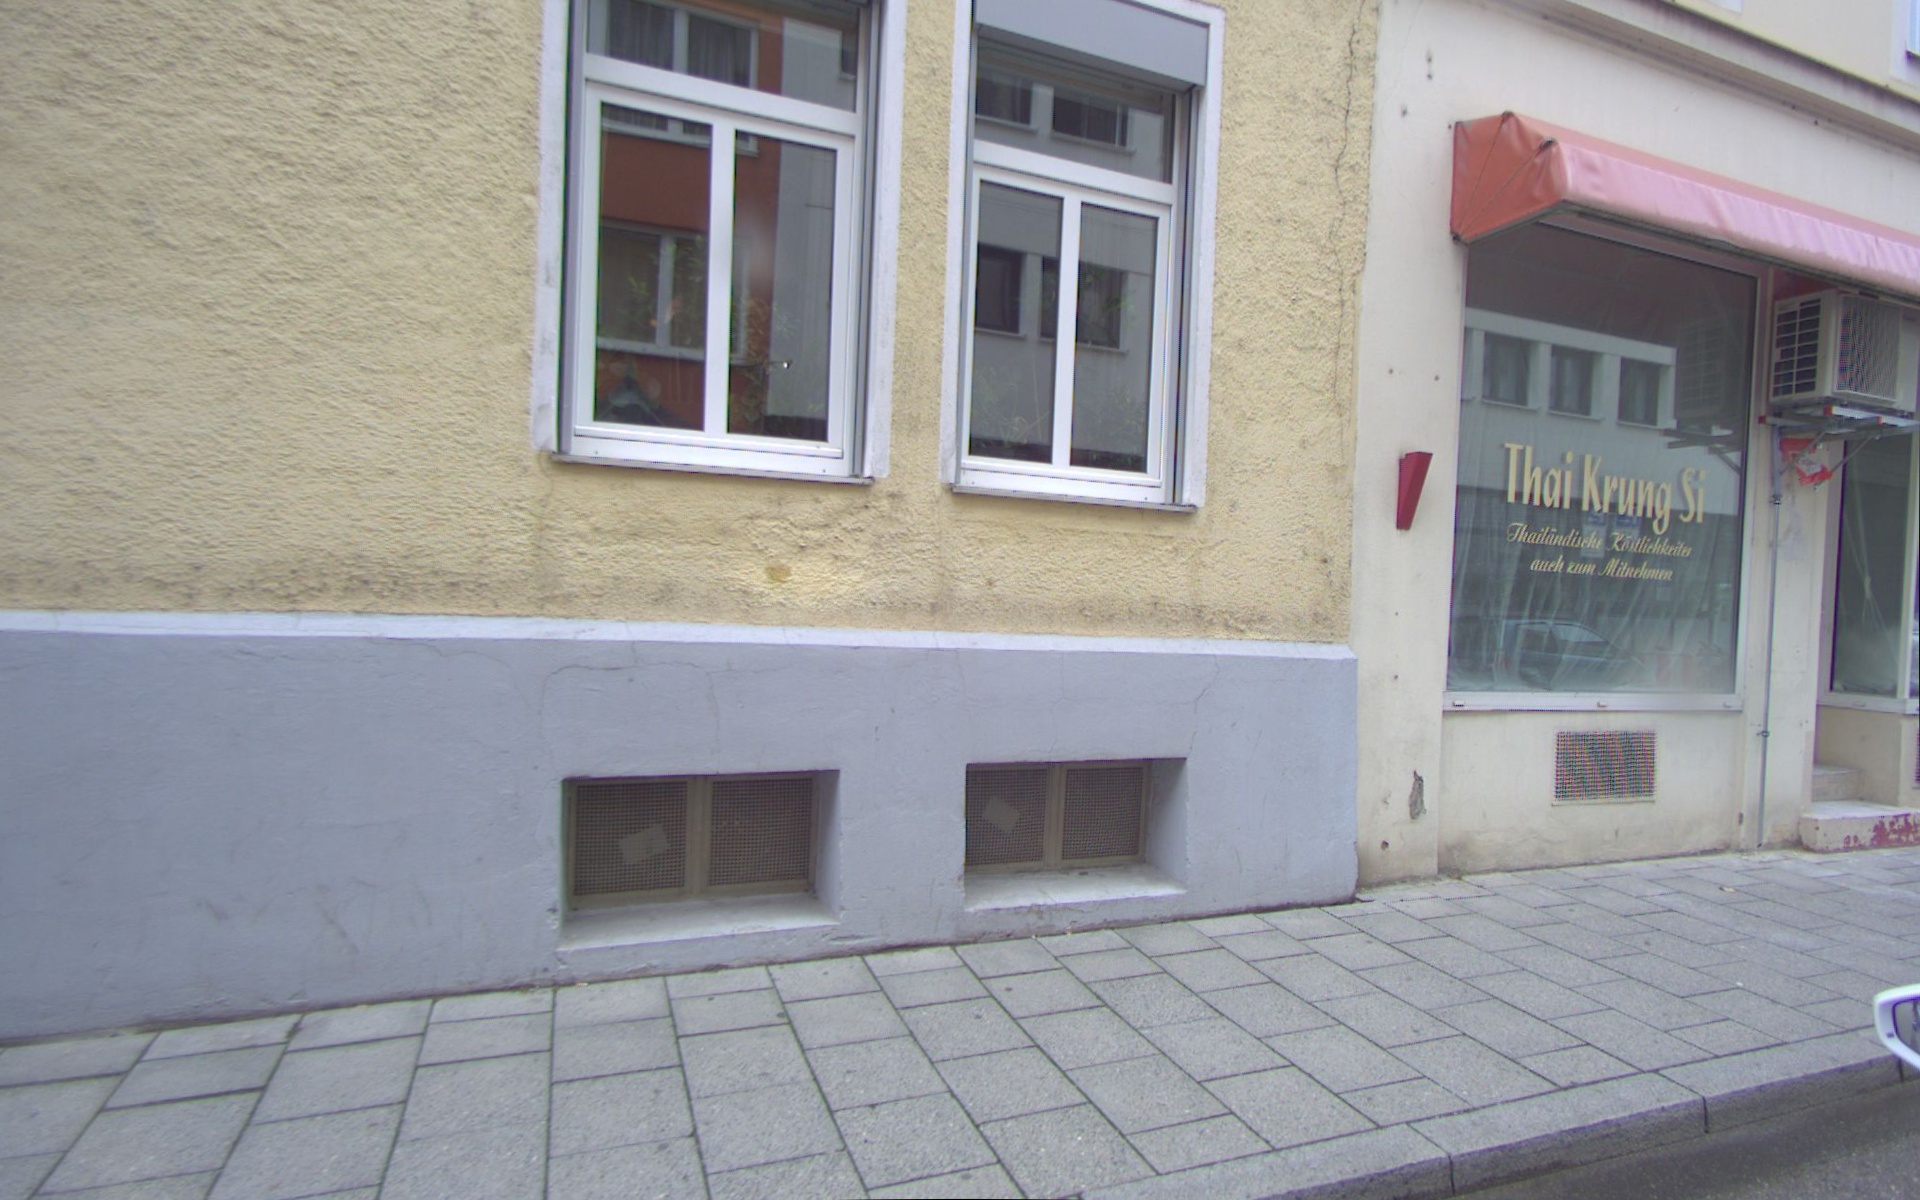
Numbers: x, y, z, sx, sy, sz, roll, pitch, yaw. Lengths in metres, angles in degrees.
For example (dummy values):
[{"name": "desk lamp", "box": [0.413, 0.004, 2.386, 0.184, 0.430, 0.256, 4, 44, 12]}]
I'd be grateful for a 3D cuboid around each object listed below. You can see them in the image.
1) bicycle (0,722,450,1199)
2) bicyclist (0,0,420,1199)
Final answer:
[{"name": "bicycle", "box": [-1.631, 0.748, 0.446, 2.379, 1.274, 0.930, 3, -1, -23]}, {"name": "bicyclist", "box": [-1.066, 0.385, 0.679, 1.083, 1.744, 0.924, 2, 0, -22]}]
